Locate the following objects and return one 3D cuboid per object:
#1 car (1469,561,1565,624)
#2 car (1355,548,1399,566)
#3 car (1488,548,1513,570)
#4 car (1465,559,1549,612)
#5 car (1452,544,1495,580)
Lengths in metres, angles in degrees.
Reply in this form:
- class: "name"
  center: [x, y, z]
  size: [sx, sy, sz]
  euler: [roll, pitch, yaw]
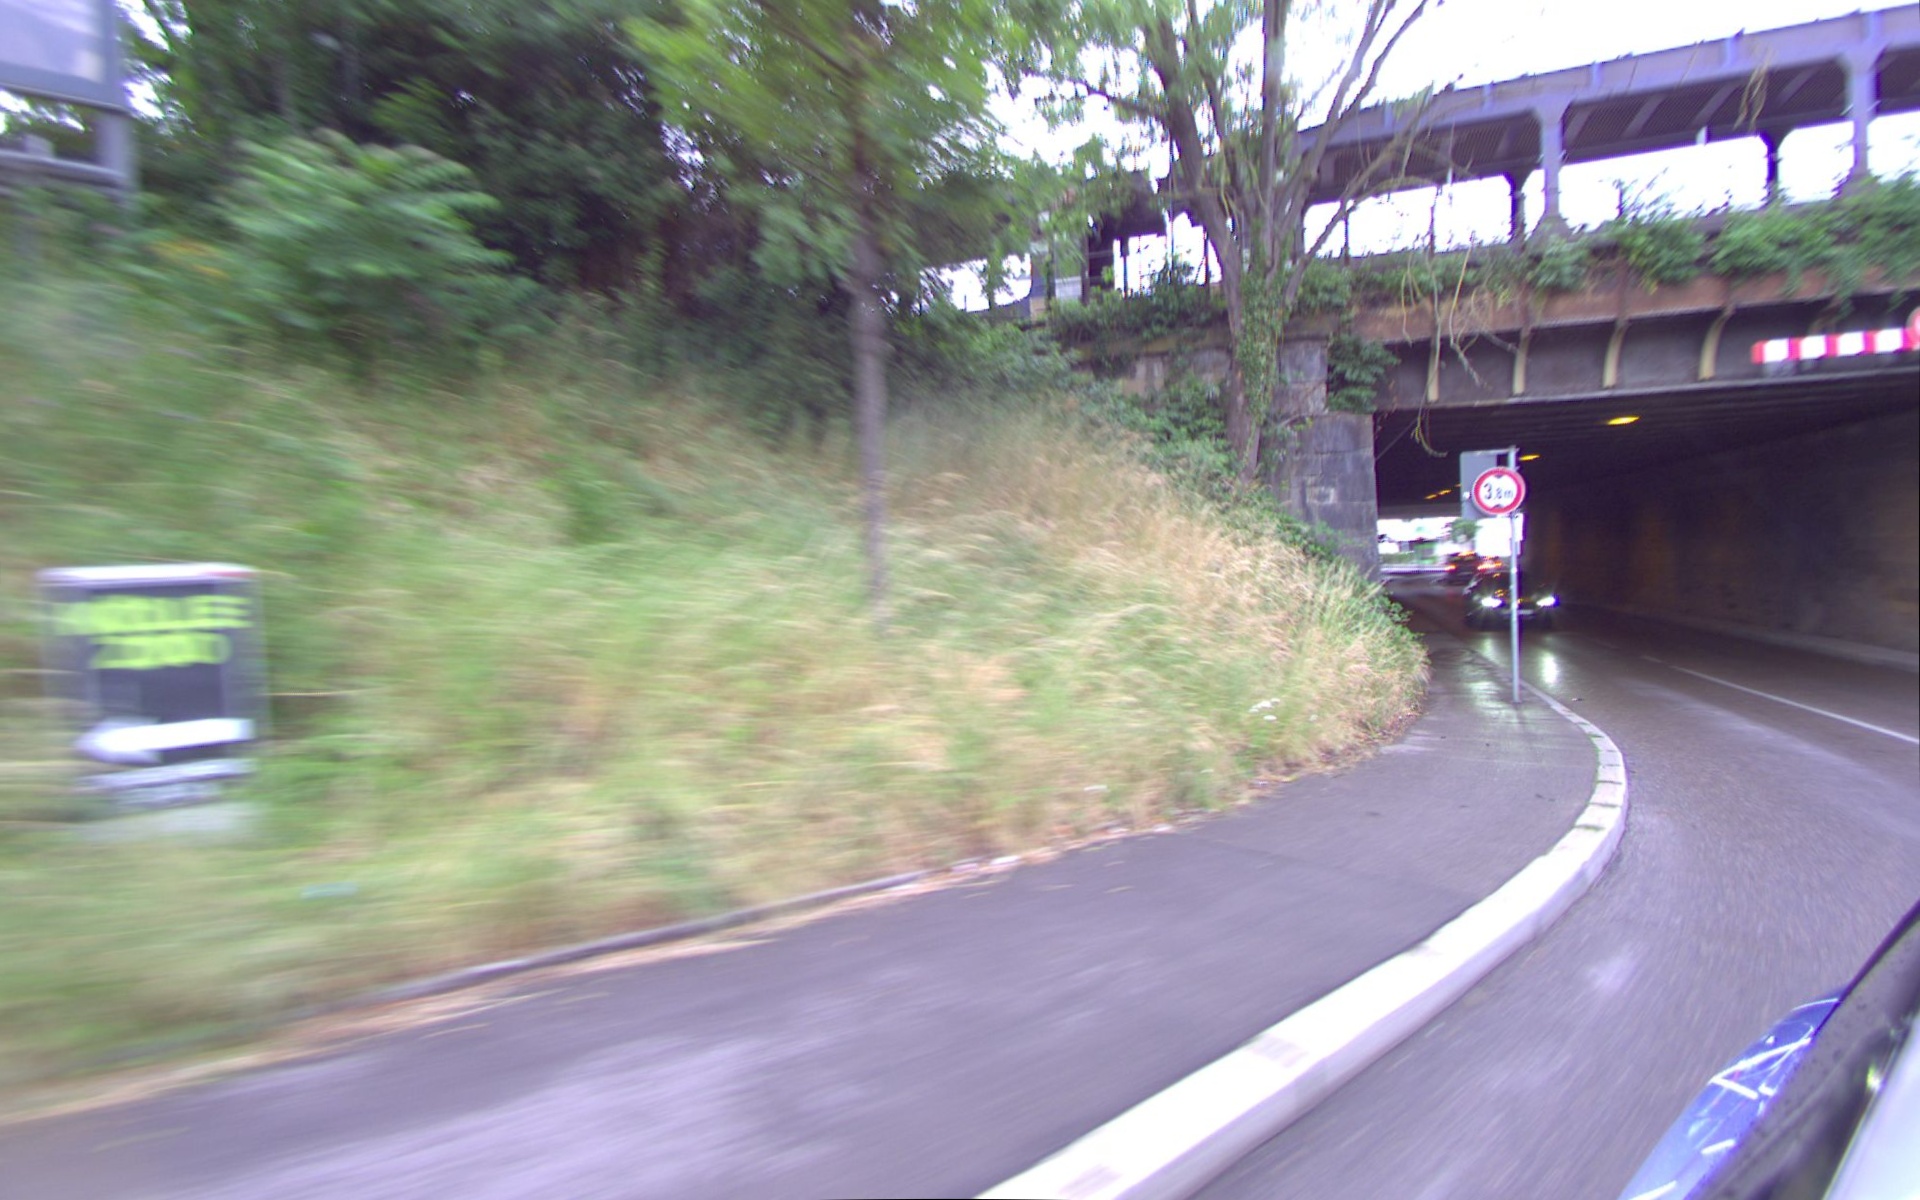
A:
- class: "car"
  center: [15.335, -0.253, 28.049]
  size: [1.790, 1.536, 4.025]
  euler: [-2, 2, 21]
- class: "car"
  center: [35.519, -3.667, 86.305]
  size: [1.257, 1.475, 3.251]
  euler: [-4, 3, -41]
- class: "car"
  center: [35.783, -2.761, 67.026]
  size: [1.265, 1.332, 3.294]
  euler: [-1, 3, 25]
- class: "car"
  center: [17.756, -0.508, 33.018]
  size: [1.789, 1.536, 4.029]
  euler: [0, 3, 19]
- class: "car"
  center: [28.308, -2.111, 55.904]
  size: [1.893, 1.823, 3.969]
  euler: [-1, 3, 24]
